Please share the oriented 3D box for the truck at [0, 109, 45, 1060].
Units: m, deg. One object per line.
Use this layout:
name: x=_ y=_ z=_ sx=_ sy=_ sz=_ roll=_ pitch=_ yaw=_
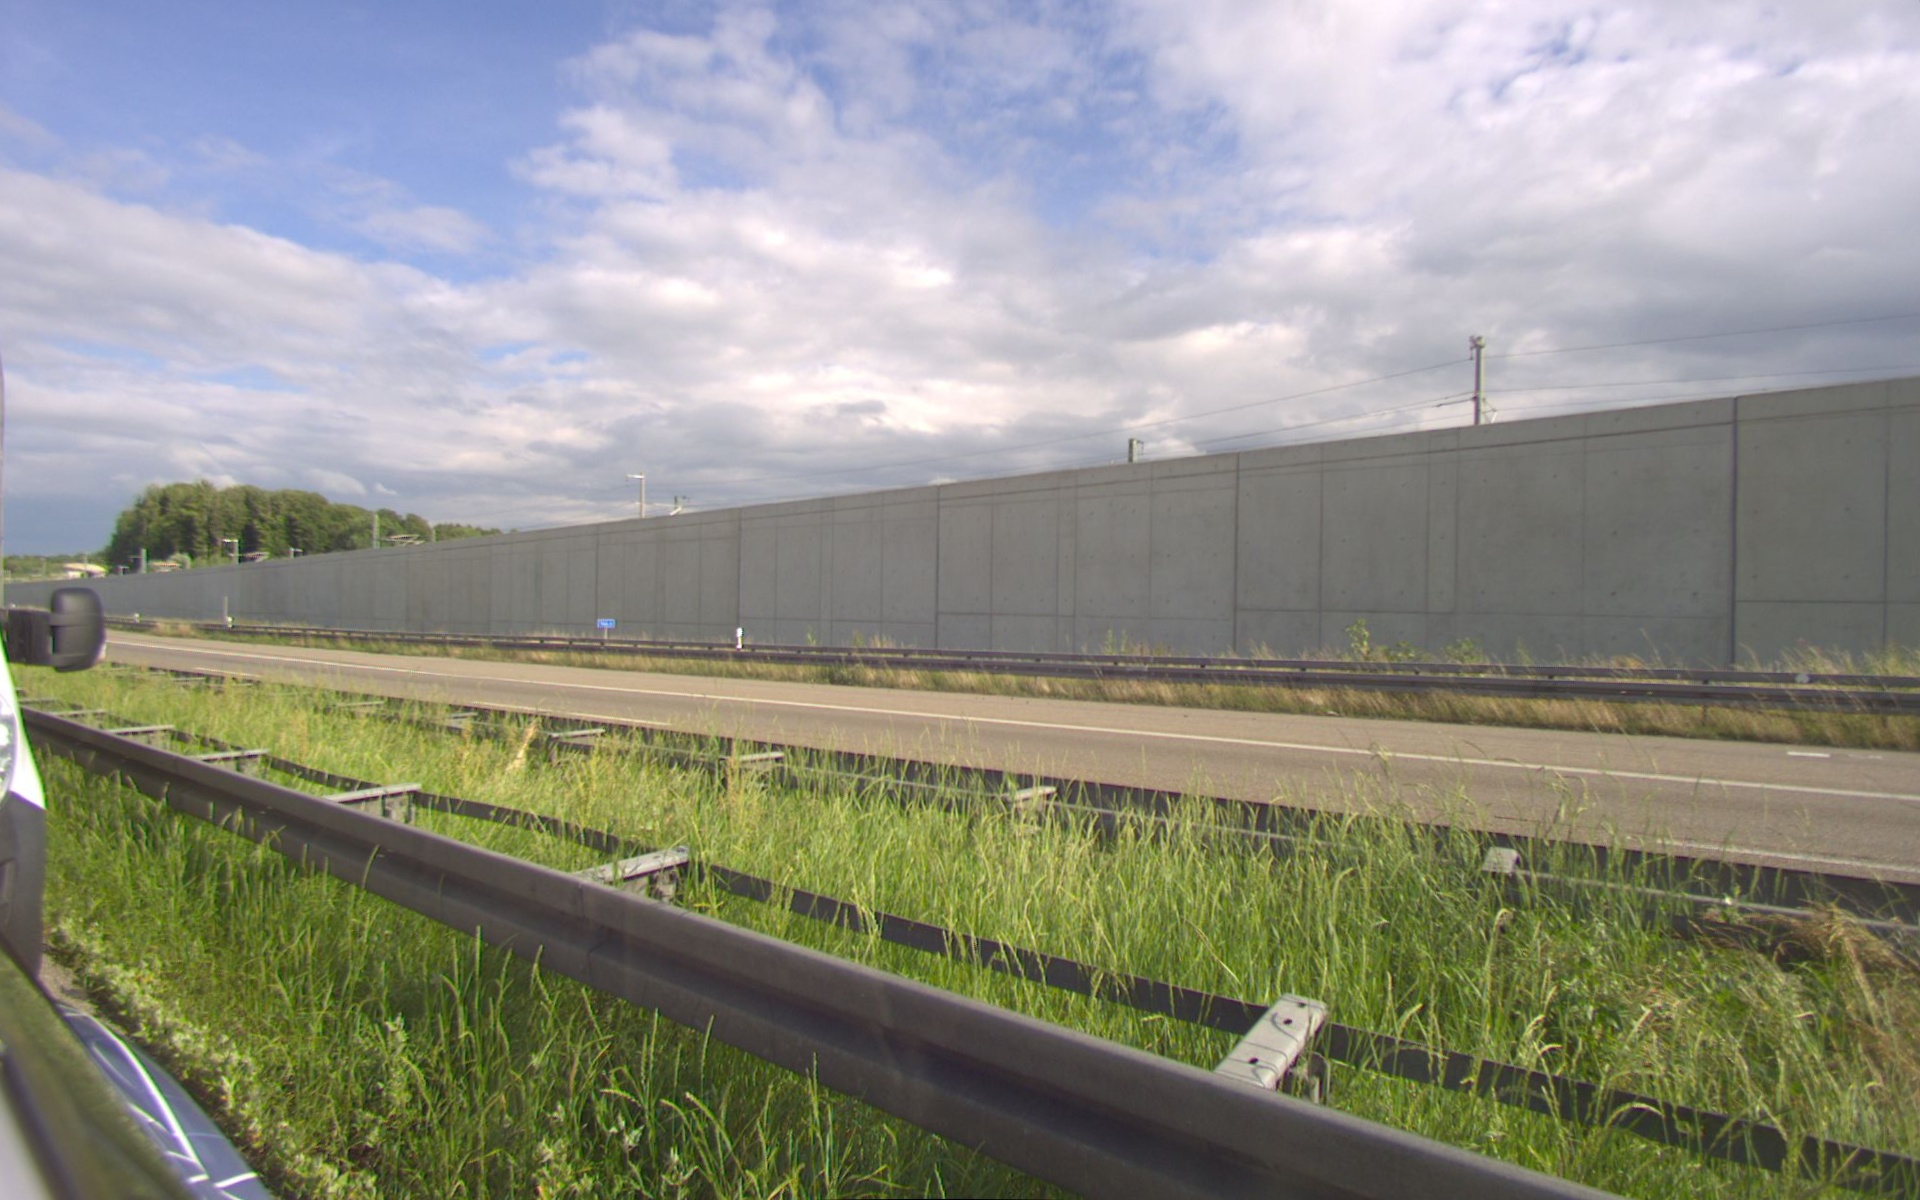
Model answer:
truck: x=-6.679 y=-0.019 z=5.210 sx=7.800 sy=3.129 sz=2.033 roll=-1 pitch=0 yaw=41
